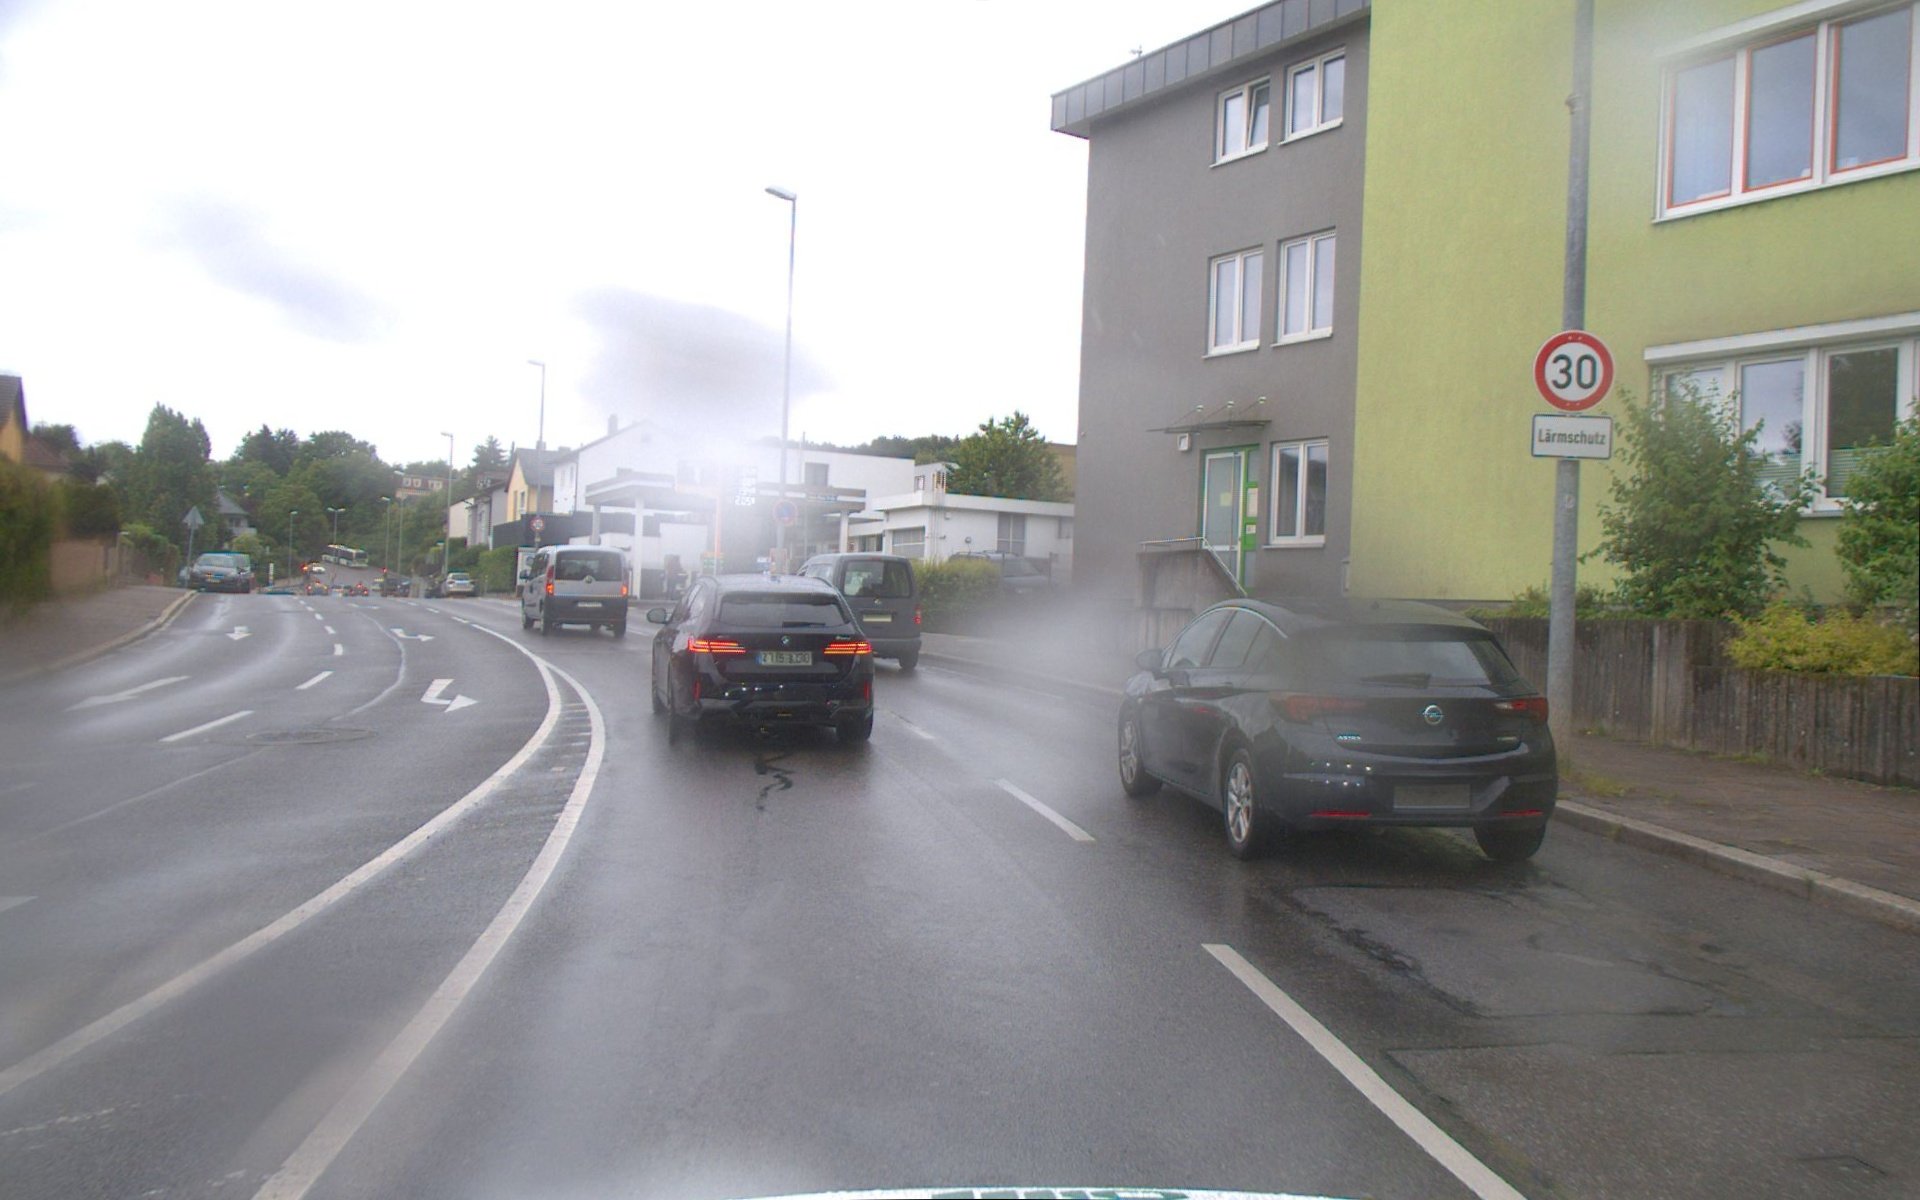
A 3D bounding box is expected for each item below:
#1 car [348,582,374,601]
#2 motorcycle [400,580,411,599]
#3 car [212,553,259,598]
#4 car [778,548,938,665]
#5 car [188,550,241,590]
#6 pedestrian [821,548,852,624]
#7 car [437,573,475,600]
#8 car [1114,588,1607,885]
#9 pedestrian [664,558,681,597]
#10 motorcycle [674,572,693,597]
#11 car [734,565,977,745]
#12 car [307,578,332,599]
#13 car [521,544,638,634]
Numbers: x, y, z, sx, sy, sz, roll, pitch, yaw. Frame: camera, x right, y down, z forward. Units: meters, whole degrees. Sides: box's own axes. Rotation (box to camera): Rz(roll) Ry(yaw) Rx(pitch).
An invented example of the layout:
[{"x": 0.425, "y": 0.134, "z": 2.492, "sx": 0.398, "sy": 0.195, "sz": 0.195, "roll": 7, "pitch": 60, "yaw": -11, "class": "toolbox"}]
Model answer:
[{"x": -59.729, "y": -0.814, "z": 164.865, "sx": 1.969, "sy": 1.771, "sz": 3.966, "roll": 2, "pitch": -1, "yaw": -26, "class": "car"}, {"x": -44.962, "y": -0.857, "z": 134.083, "sx": 0.694, "sy": 1.536, "sz": 2.135, "roll": -1, "pitch": 0, "yaw": -23, "class": "motorcycle"}, {"x": -35.678, "y": -1.159, "z": 81.381, "sx": 1.889, "sy": 2.038, "sz": 5.045, "roll": 2, "pitch": -1, "yaw": -26, "class": "car"}, {"x": -1.799, "y": 0.128, "z": 27.899, "sx": 1.809, "sy": 1.798, "sz": 3.981, "roll": 2, "pitch": -1, "yaw": -17, "class": "car"}, {"x": -29.652, "y": -1.160, "z": 65.861, "sx": 1.726, "sy": 1.465, "sz": 4.101, "roll": 2, "pitch": -1, "yaw": -23, "class": "car"}, {"x": -3.389, "y": -0.383, "z": 45.434, "sx": 0.703, "sy": 2.049, "sz": 0.612, "roll": 2, "pitch": -1, "yaw": -15, "class": "pedestrian"}, {"x": -30.983, "y": -0.828, "z": 101.611, "sx": 1.678, "sy": 1.536, "sz": 4.500, "roll": 2, "pitch": -1, "yaw": -24, "class": "car"}, {"x": 2.265, "y": 0.698, "z": 10.510, "sx": 1.723, "sy": 1.474, "sz": 3.994, "roll": 2, "pitch": 1, "yaw": -7, "class": "car"}, {"x": -12.551, "y": -0.982, "z": 72.239, "sx": 0.602, "sy": 1.685, "sz": 0.581, "roll": 2, "pitch": -1, "yaw": -24, "class": "pedestrian"}, {"x": -12.053, "y": -0.659, "z": 72.099, "sx": 0.456, "sy": 1.074, "sz": 1.380, "roll": 2, "pitch": -1, "yaw": -23, "class": "motorcycle"}, {"x": -1.154, "y": 0.505, "z": 16.202, "sx": 1.957, "sy": 1.510, "sz": 3.991, "roll": 2, "pitch": -1, "yaw": -10, "class": "car"}, {"x": -58.272, "y": -1.017, "z": 150.480, "sx": 1.964, "sy": 1.771, "sz": 3.977, "roll": 2, "pitch": -1, "yaw": -20, "class": "car"}, {"x": -8.262, "y": -0.198, "z": 35.657, "sx": 1.964, "sy": 1.768, "sz": 3.976, "roll": 2, "pitch": -1, "yaw": -20, "class": "car"}]
